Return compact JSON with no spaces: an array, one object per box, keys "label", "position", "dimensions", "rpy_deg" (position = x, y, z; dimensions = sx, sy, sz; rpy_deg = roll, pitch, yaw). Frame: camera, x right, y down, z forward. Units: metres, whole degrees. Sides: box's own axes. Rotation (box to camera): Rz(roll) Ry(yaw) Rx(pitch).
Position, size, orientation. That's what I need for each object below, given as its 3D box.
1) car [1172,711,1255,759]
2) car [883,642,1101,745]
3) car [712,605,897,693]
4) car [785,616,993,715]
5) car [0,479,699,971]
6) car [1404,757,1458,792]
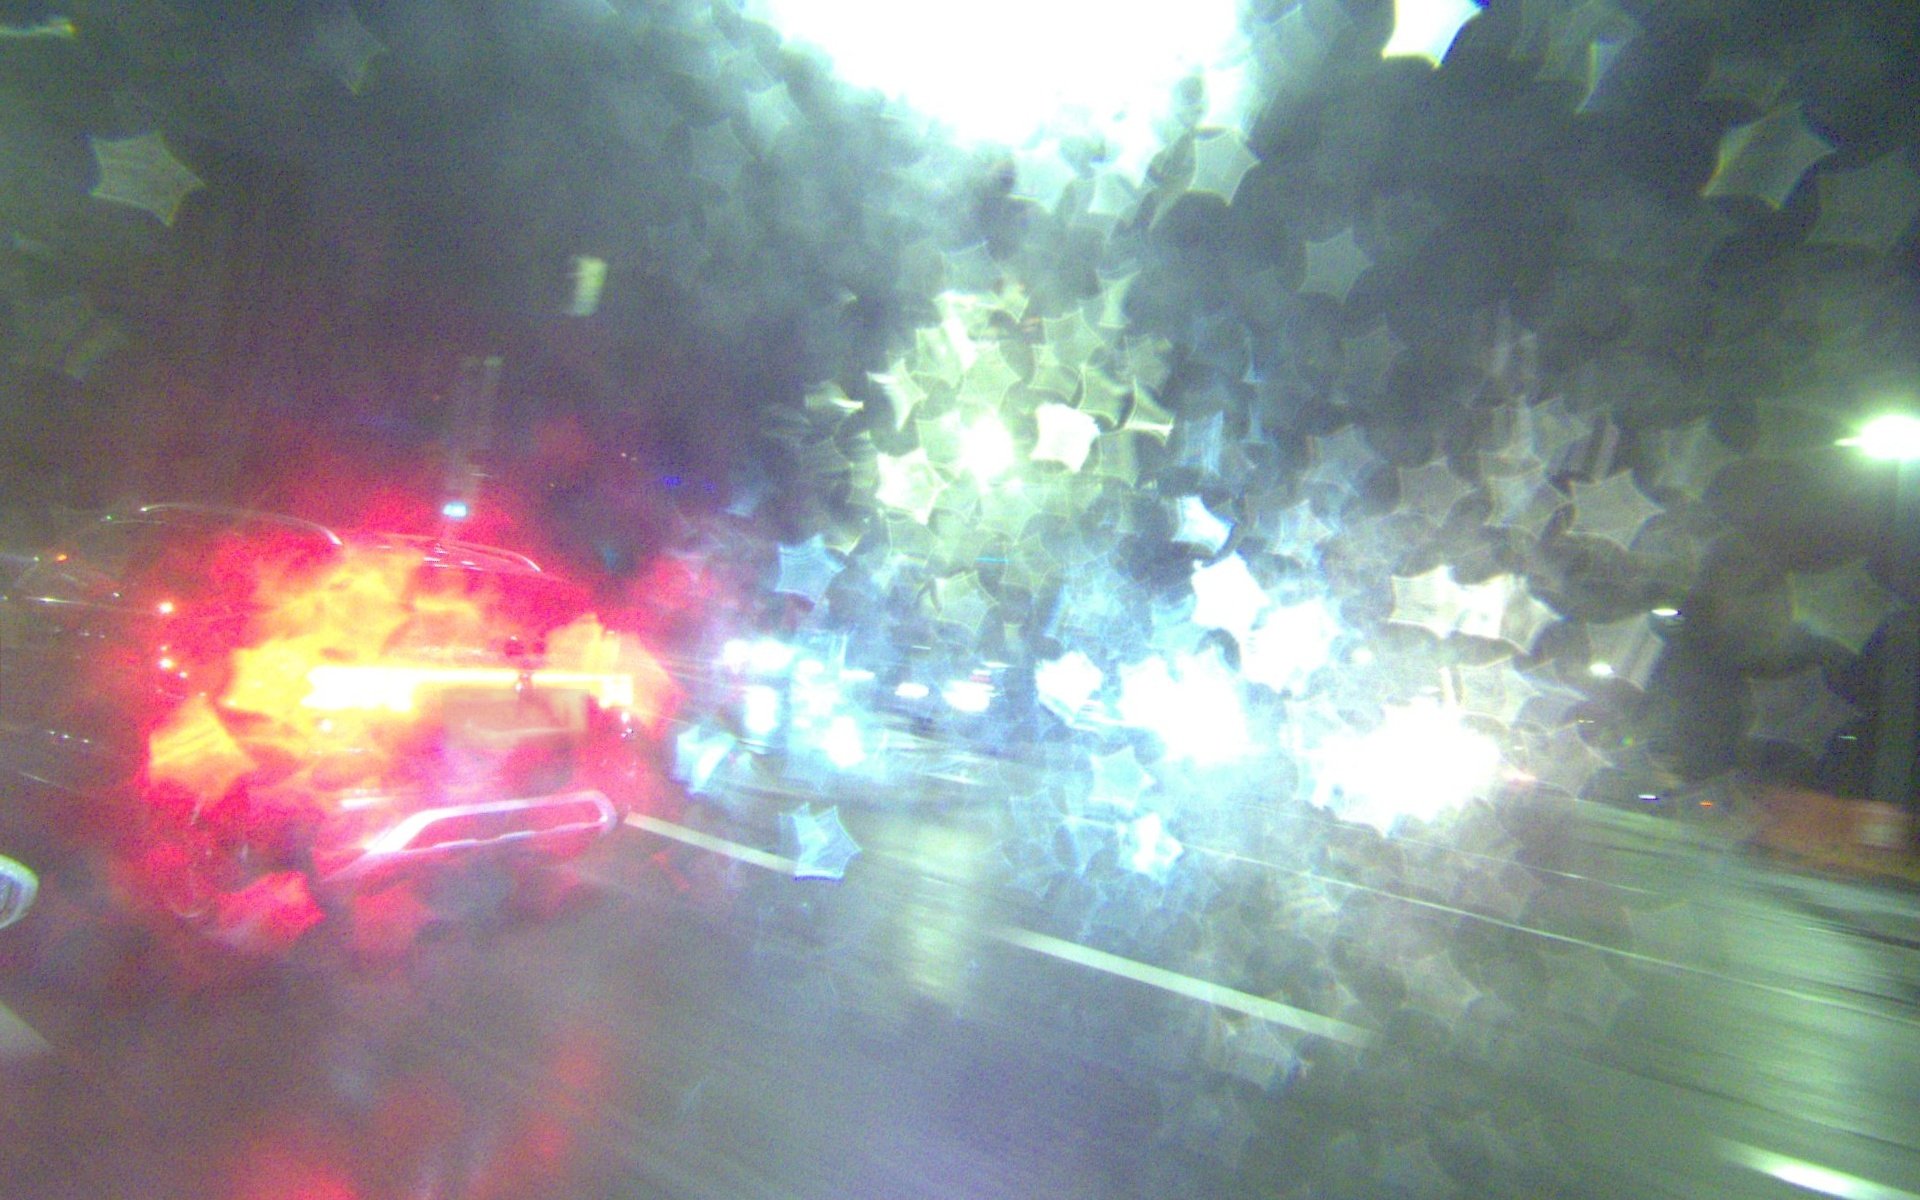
[{"label":"car","position":[10.965,5.816,43.338],"dimensions":[1.799,1.659,3.988],"rpy_deg":[8,-2,38]},{"label":"car","position":[0.686,1.714,17.921],"dimensions":[1.721,1.360,4.046],"rpy_deg":[8,-3,37]},{"label":"car","position":[-3.662,1.225,24.356],"dimensions":[1.829,1.536,4.168],"rpy_deg":[8,-3,37]},{"label":"car","position":[-1.398,1.462,21.621],"dimensions":[1.829,1.536,4.487],"rpy_deg":[8,-3,37]},{"label":"car","position":[-3.441,0.373,4.932],"dimensions":[3.890,1.538,1.683],"rpy_deg":[6,-3,26]},{"label":"car","position":[23.880,8.820,50.965],"dimensions":[1.719,1.360,3.904],"rpy_deg":[8,-3,35]}]
